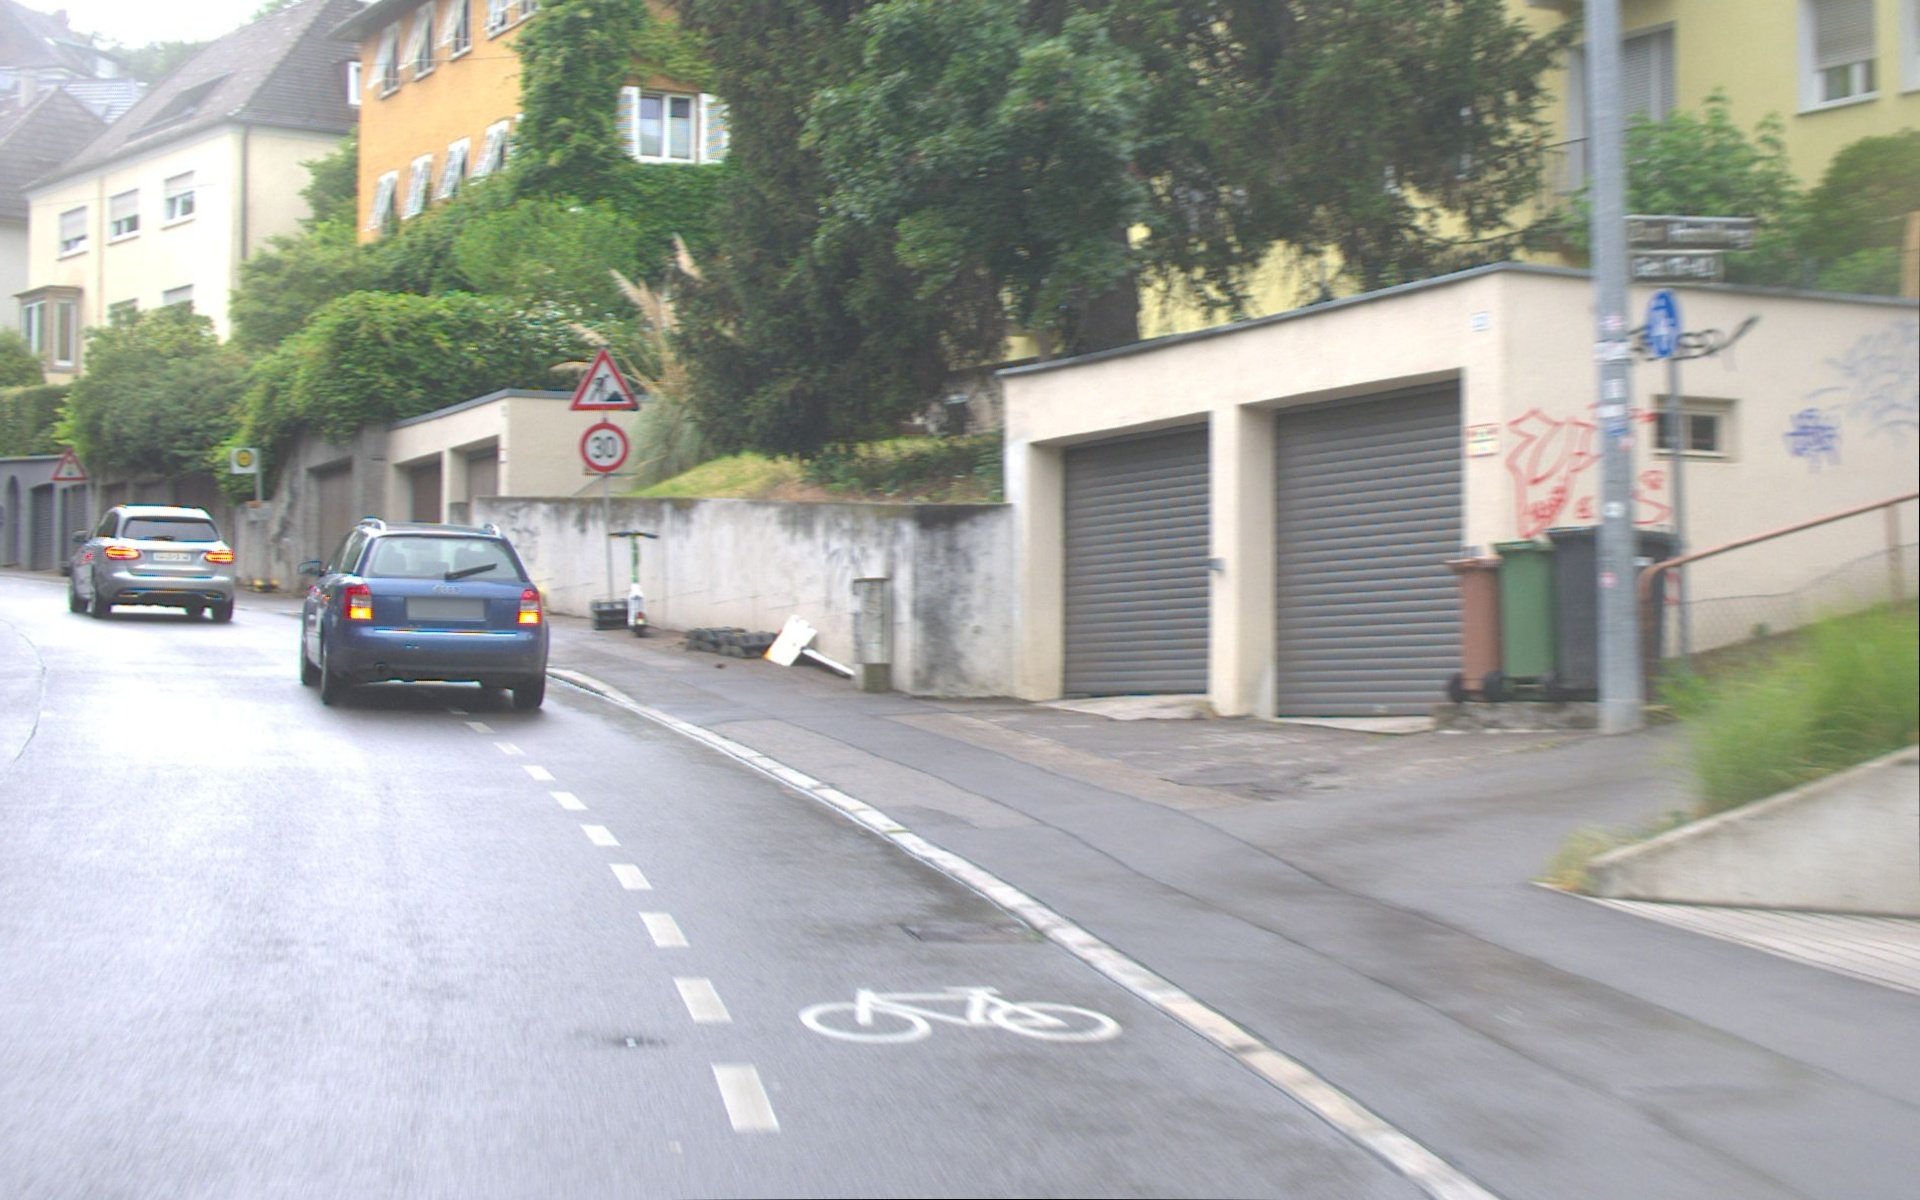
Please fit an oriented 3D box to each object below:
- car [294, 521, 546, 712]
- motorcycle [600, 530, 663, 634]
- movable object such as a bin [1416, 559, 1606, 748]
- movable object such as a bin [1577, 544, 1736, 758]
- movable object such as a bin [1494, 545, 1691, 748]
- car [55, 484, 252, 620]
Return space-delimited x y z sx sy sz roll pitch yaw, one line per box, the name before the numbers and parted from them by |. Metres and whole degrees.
car | -4.459 0.076 28.119 1.853 1.409 4.363 -1 1 -10
motorcycle | -3.645 -0.209 38.079 0.548 1.128 1.440 0 1 -12
movable object such as a bin | 3.447 0.321 21.525 0.859 1.138 0.800 -1 1 -27
movable object such as a bin | 4.085 0.289 20.173 0.702 1.219 0.581 -1 1 -27
movable object such as a bin | 3.827 0.266 20.817 0.859 1.181 0.787 -1 1 -27
car | -10.663 -0.660 45.256 1.949 1.556 4.265 1 3 -21
